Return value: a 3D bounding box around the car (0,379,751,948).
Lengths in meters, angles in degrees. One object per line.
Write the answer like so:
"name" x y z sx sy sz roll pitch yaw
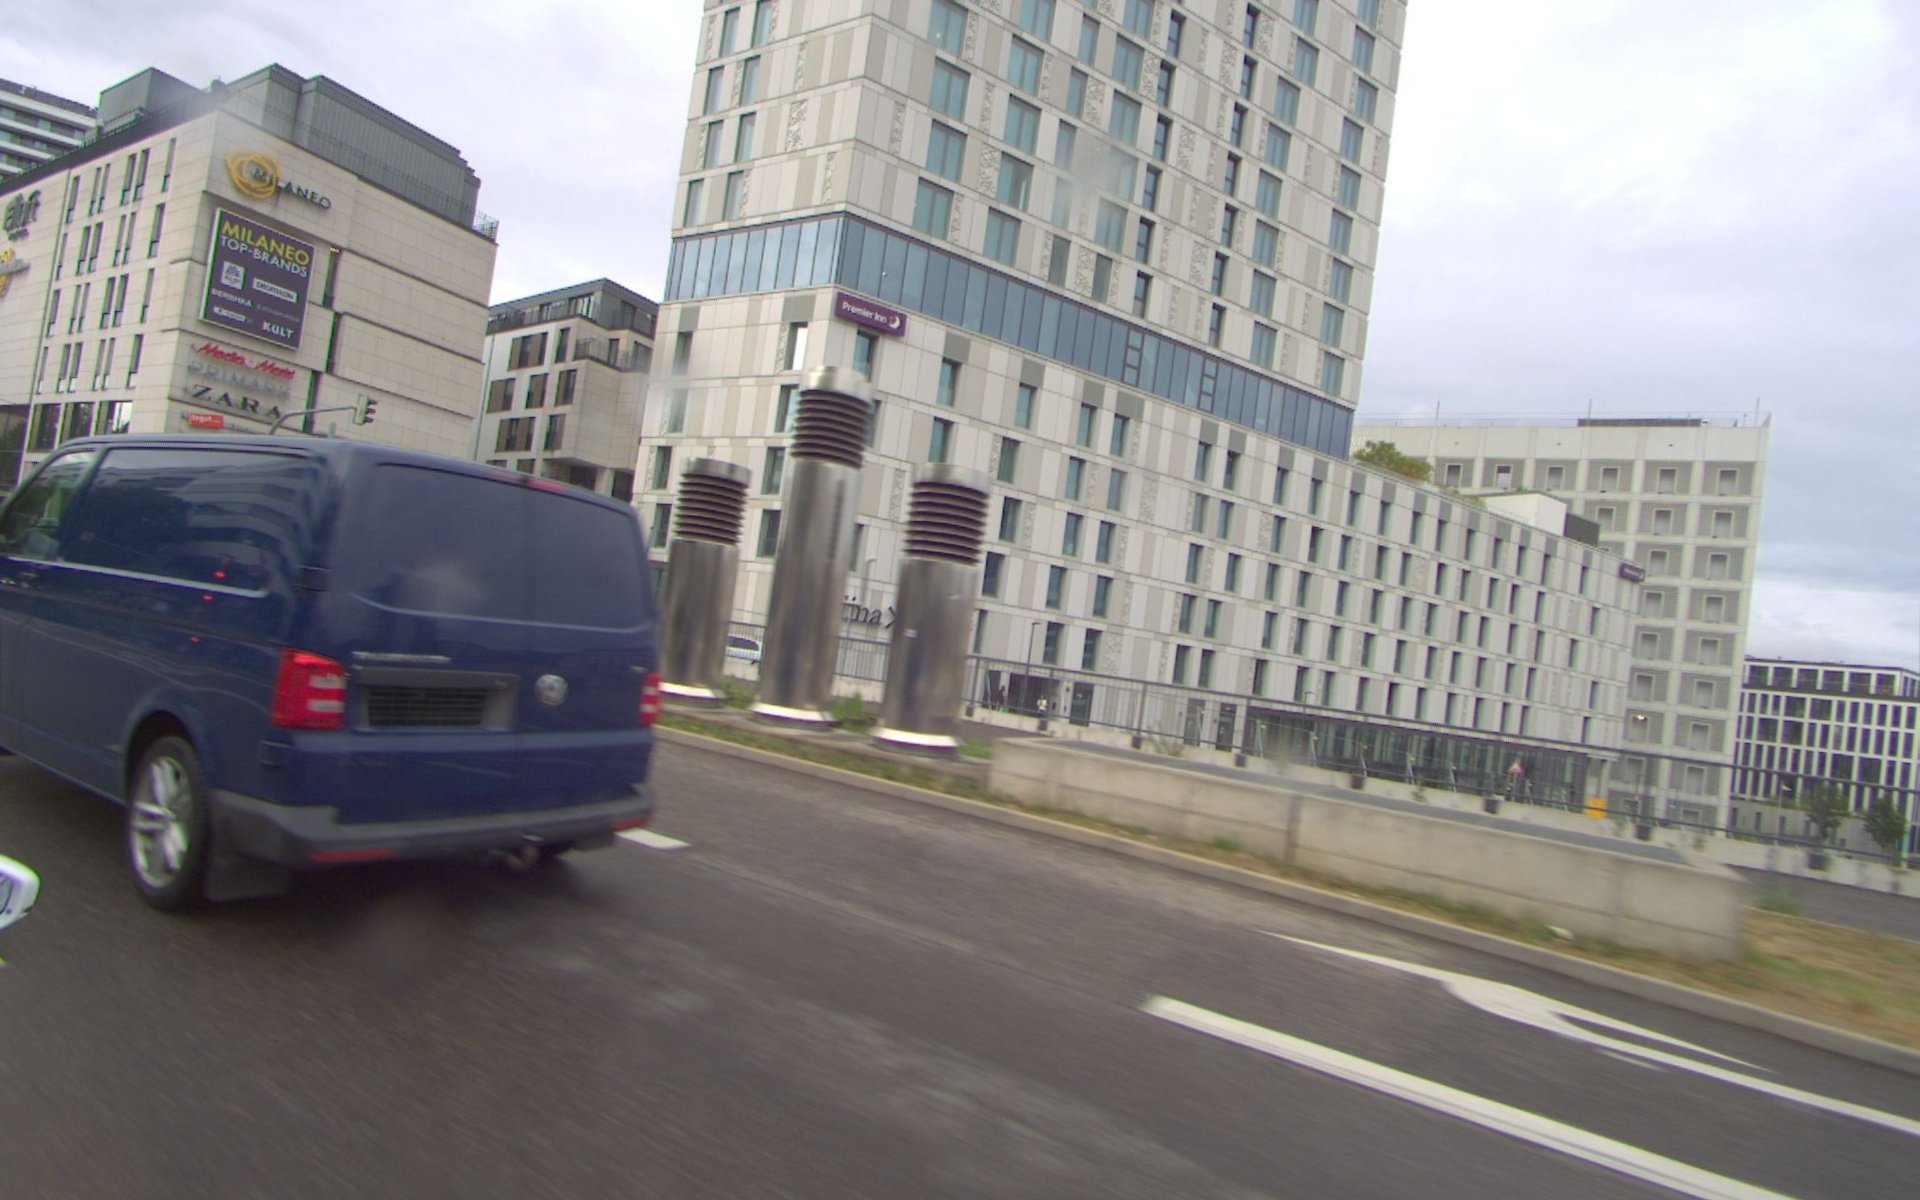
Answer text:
"car" -3.781 0.060 5.548 4.959 1.904 2.036 7 -2 33

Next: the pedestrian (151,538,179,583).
"pedestrian" -33.219 -1.636 42.030 0.584 1.801 0.441 7 -1 -2

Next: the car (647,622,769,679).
"car" -9.363 1.881 37.482 3.962 1.448 1.731 11 -4 -30

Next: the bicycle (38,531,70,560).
"bicycle" -37.124 -2.233 41.206 1.714 1.027 0.450 5 -2 33

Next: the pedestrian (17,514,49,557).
"pedestrian" -37.212 -2.597 40.392 0.805 1.629 0.614 6 -2 32

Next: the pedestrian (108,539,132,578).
"pedestrian" -37.649 -1.868 45.082 0.590 1.661 0.583 8 -2 -33

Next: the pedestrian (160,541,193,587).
"pedestrian" -30.818 -1.399 39.588 0.810 1.691 0.622 6 -2 32

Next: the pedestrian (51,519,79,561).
"pedestrian" -36.883 -2.489 41.471 0.687 1.629 0.551 6 -2 32

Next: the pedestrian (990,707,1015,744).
"pedestrian" 2.130 6.296 50.537 0.788 1.721 0.797 5 -2 38
